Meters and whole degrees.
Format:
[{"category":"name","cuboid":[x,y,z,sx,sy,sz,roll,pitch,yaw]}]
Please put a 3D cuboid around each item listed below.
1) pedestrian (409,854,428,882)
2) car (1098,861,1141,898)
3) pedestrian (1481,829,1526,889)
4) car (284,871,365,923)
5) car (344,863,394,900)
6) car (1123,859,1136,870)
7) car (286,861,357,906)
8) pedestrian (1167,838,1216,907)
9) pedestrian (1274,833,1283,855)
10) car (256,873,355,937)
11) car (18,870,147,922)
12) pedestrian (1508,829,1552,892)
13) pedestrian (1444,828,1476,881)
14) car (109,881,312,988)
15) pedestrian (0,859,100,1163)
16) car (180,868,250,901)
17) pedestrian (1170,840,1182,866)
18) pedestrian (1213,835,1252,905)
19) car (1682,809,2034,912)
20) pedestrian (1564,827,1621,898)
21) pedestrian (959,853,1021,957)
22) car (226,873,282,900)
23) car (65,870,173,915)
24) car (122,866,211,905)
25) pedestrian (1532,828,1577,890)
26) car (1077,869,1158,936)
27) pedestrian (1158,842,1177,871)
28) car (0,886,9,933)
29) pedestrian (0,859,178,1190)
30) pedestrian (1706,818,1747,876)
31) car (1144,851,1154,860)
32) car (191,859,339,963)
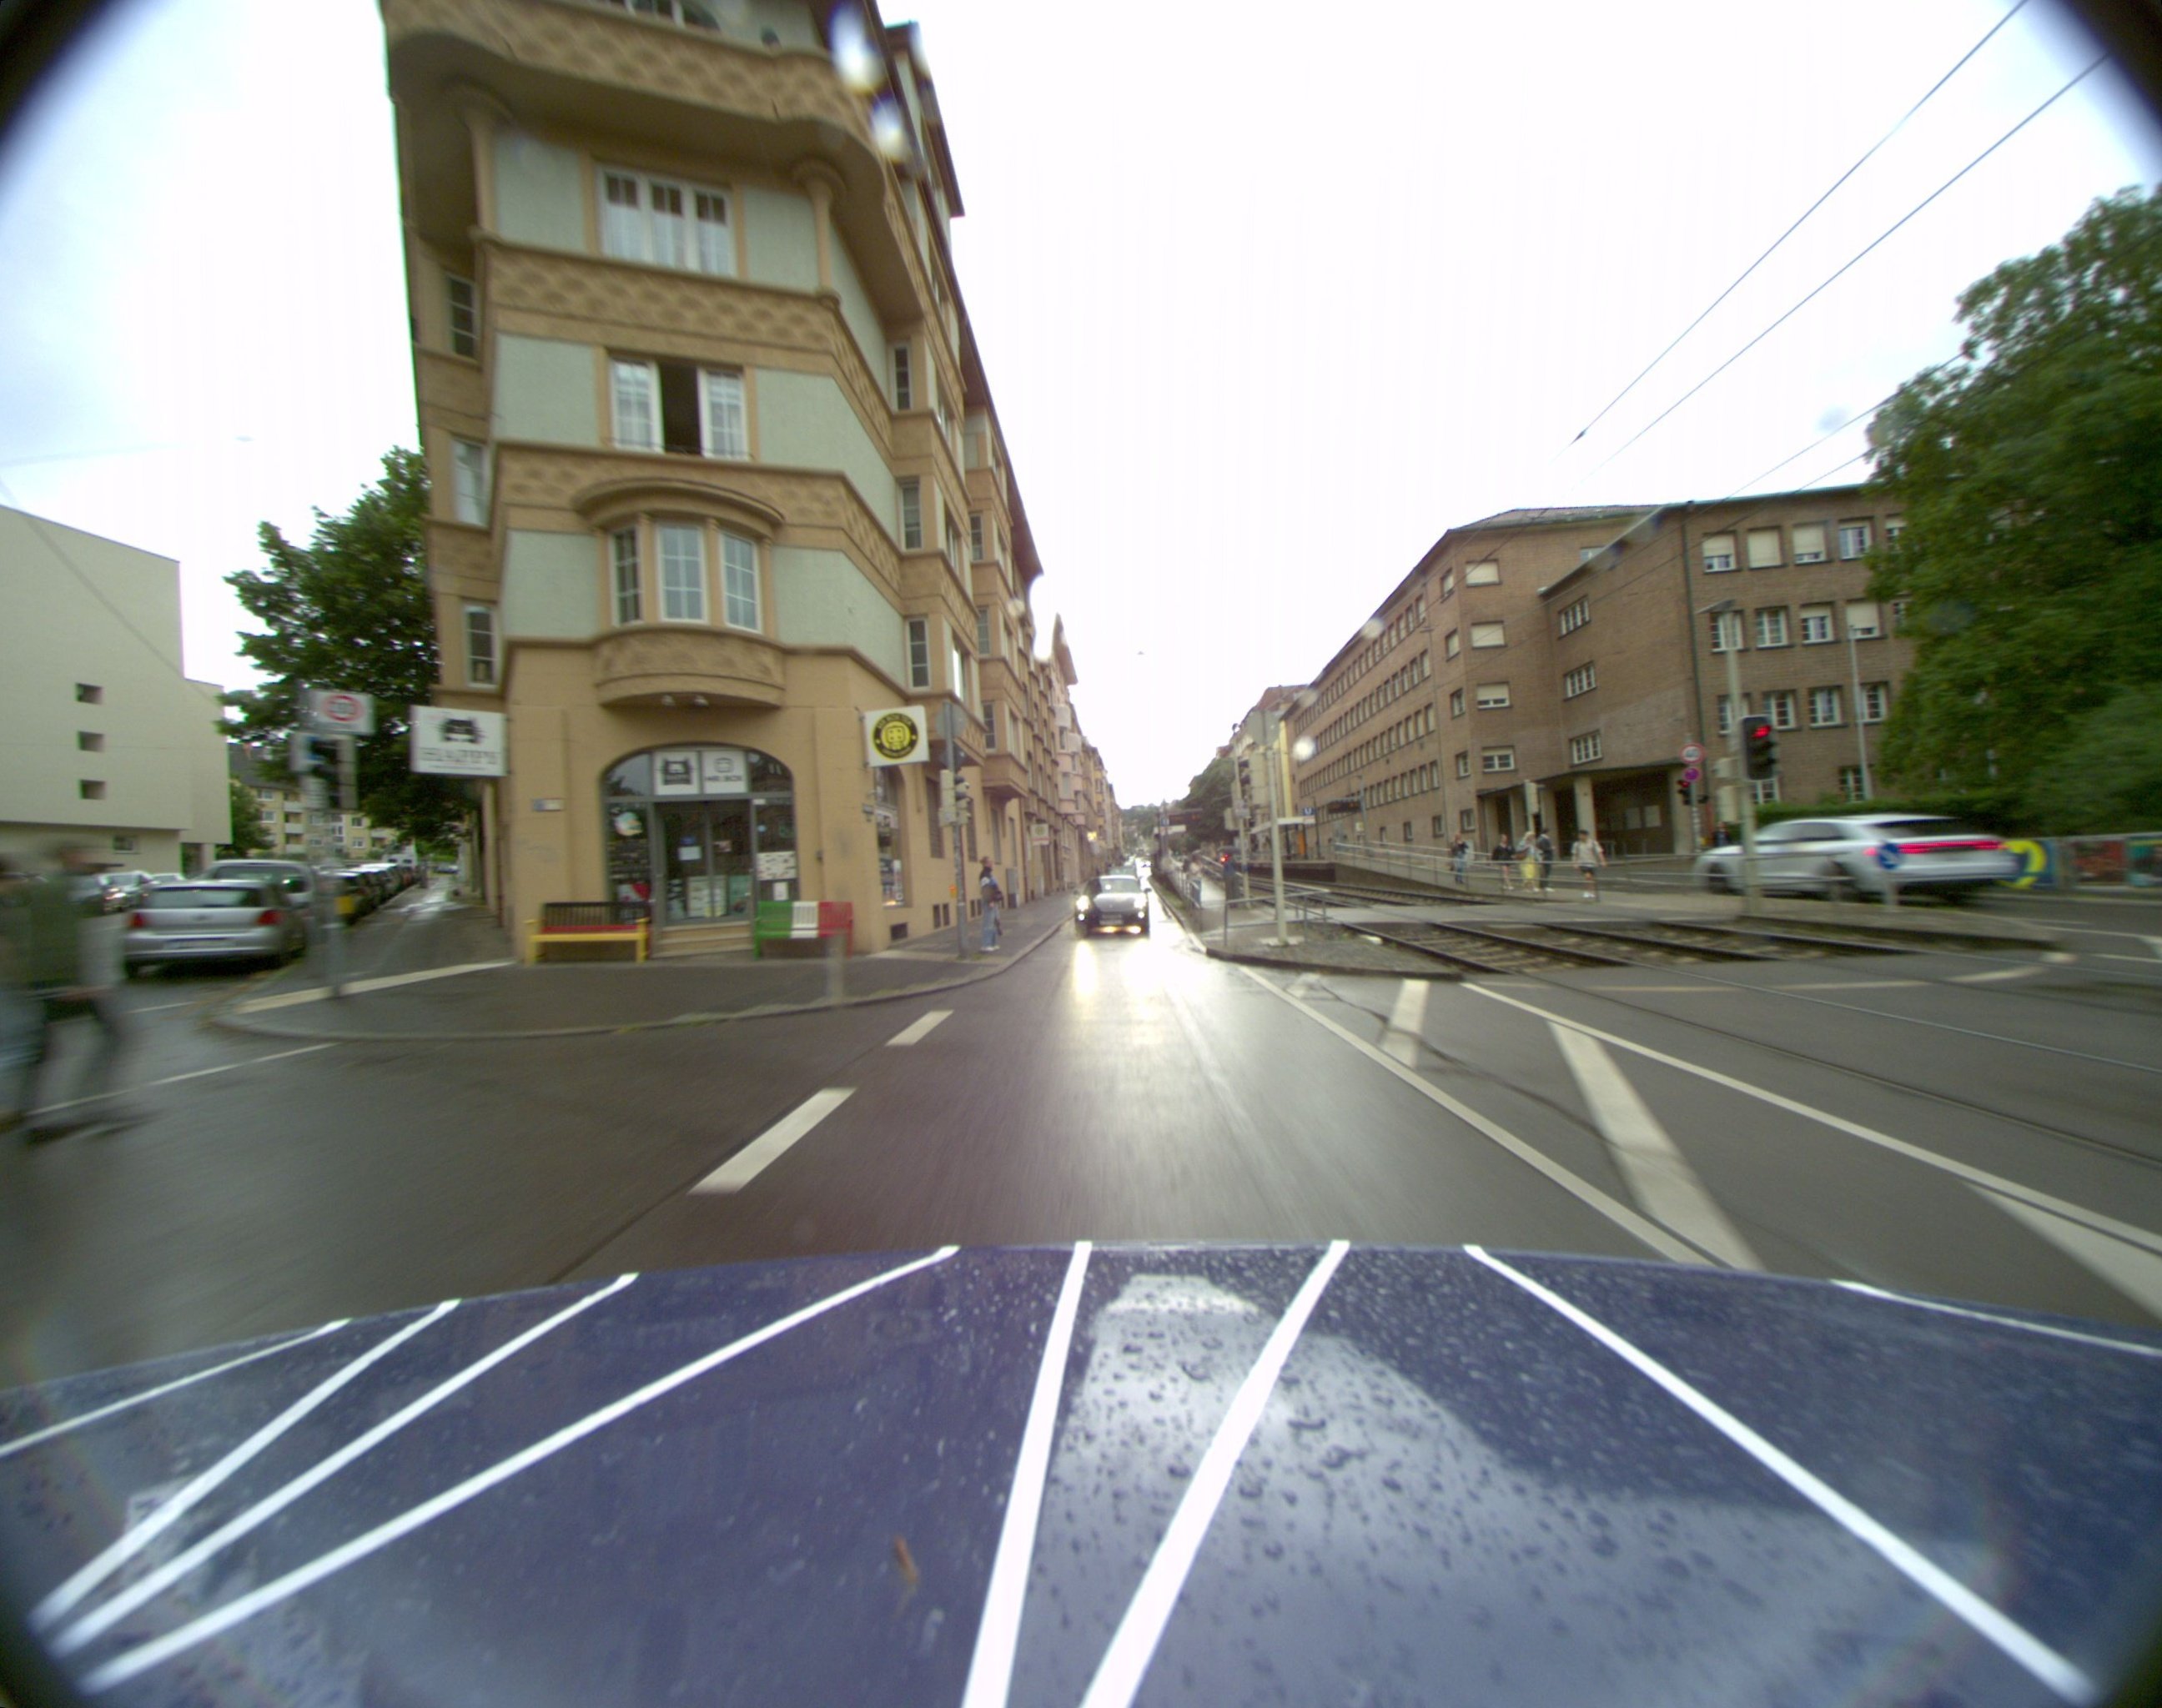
[{"category":"pedestrian","cuboid":[-50.594,1.062,58.002,0.948,2.002,1.307,-4,0,-43]},{"category":"car","cuboid":[1.713,1.064,32.649,1.689,1.451,3.300,-2,0,5]},{"category":"pedestrian","cuboid":[12.630,0.137,22.729,0.745,1.687,0.883,-6,2,3]},{"category":"car","cuboid":[-23.937,1.311,24.135,1.449,1.417,3.290,-6,3,-40]},{"category":"car","cuboid":[-33.252,1.272,35.551,1.449,1.565,3.275,-6,3,-40]},{"category":"car","cuboid":[7.100,1.450,110.329,1.632,1.443,4.002,-4,0,6]},{"category":"car","cuboid":[-27.303,1.027,27.402,1.449,1.417,3.290,-6,3,-40]},{"category":"pedestrian","cuboid":[3.335,0.565,22.903,0.949,2.002,0.927,-4,0,-41]},{"category":"pedestrian","cuboid":[15.563,-0.761,59.888,0.588,1.699,0.491,-3,0,3]},{"category":"car","cuboid":[-19.993,1.259,19.697,1.449,1.417,3.290,-3,1,-41]},{"category":"car","cuboid":[-35.419,1.437,27.091,1.749,1.501,3.989,-8,4,-39]},{"category":"pedestrian","cuboid":[12.286,0.171,20.816,0.745,1.638,0.641,-5,2,5]},{"category":"pedestrian","cuboid":[12.553,0.014,25.177,0.666,1.689,0.688,-5,4,2]},{"category":"car","cuboid":[-14.026,1.188,12.469,1.694,1.451,3.525,0,-1,-41]},{"category":"pedestrian","cuboid":[-6.697,0.931,4.441,0.683,1.778,0.902,-2,0,1]},{"category":"car","cuboid":[-47.563,1.646,41.807,1.749,1.501,3.989,-8,4,-39]},{"category":"pedestrian","cuboid":[6.529,-0.086,52.423,0.645,1.764,0.711,-4,0,4]},{"category":"pedestrian","cuboid":[4.509,0.466,22.627,0.899,2.002,0.948,-4,0,4]},{"category":"car","cuboid":[14.796,0.027,15.088,1.997,1.618,5.253,-2,2,6]},{"category":"pedestrian","cuboid":[12.022,0.196,17.894,0.694,1.573,0.957,-3,0,8]},{"category":"pedestrian","cuboid":[-1.646,0.904,13.841,0.967,1.830,0.902,0,0,4]},{"category":"car","cuboid":[-53.710,2.086,49.408,1.749,1.501,3.989,-8,4,-39]},{"category":"car","cuboid":[-38.771,1.515,30.734,1.749,1.501,3.989,-8,4,-39]},{"category":"car","cuboid":[-42.031,1.434,35.032,1.749,1.501,3.989,-8,4,-39]},{"category":"pedestrian","cuboid":[13.146,0.145,21.126,0.767,1.640,0.649,-3,0,3]},{"category":"car","cuboid":[1.021,1.125,18.983,1.704,1.280,4.197,-4,0,6]},{"category":"pedestrian","cuboid":[5.670,0.174,49.908,1.116,1.764,1.112,-4,0,4]},{"category":"car","cuboid":[-28.472,1.425,18.410,1.749,1.501,3.989,-8,4,-39]},{"category":"pedestrian","cuboid":[-6.146,0.930,4.440,0.595,1.778,0.891,-2,0,1]},{"category":"pedestrian","cuboid":[19.149,-0.200,22.551,0.605,1.665,0.689,-2,0,2]},{"category":"car","cuboid":[15.093,0.305,168.021,1.805,1.892,4.000,-1,0,1]},{"category":"car","cuboid":[-17.142,1.122,16.131,1.608,1.834,3.545,-6,3,-40]}]
